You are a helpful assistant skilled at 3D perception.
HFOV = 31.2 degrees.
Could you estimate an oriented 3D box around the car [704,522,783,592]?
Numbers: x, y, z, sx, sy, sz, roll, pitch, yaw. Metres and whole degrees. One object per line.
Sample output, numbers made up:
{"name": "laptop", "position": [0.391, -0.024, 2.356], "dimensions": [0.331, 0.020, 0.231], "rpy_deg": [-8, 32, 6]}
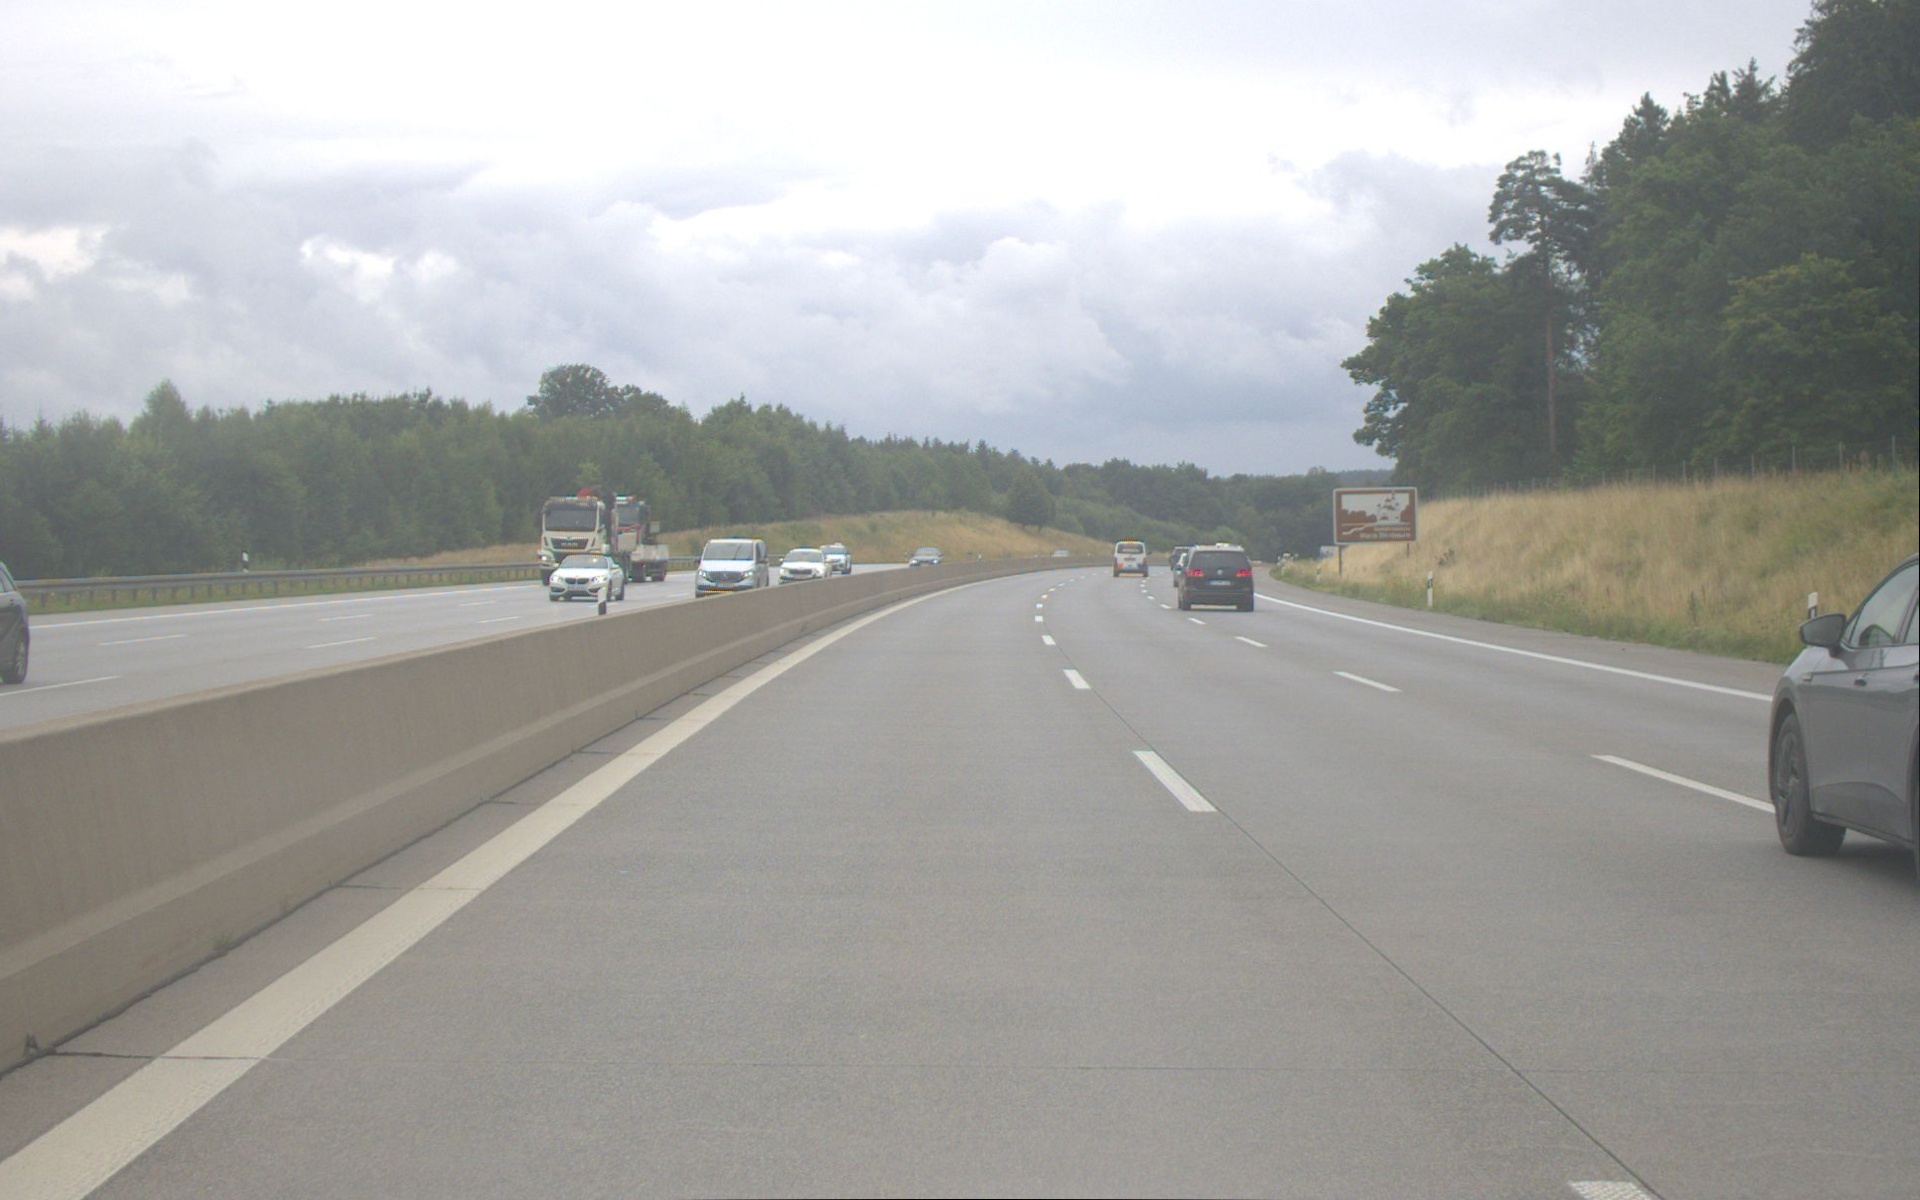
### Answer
{"name": "car", "position": [-6.647, -1.355, 106.118], "dimensions": [1.993, 2.006, 5.525], "rpy_deg": [2, 2, 0]}

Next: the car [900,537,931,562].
{"name": "car", "position": [-2.635, -3.007, 204.501], "dimensions": [1.762, 1.262, 4.493], "rpy_deg": [-1, -1, 0]}

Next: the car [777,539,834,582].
{"name": "car", "position": [-5.787, -1.495, 129.031], "dimensions": [1.714, 1.415, 4.213], "rpy_deg": [3, 2, 2]}

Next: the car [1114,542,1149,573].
{"name": "car", "position": [9.445, -2.341, 188.704], "dimensions": [1.841, 1.495, 4.000], "rpy_deg": [-2, 2, 3]}

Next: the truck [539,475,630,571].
{"name": "truck", "position": [-14.534, -2.987, 133.536], "dimensions": [2.586, 3.640, 7.661], "rpy_deg": [0, 1, 1]}

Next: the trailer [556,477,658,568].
{"name": "trailer", "position": [-14.431, -3.126, 141.592], "dimensions": [2.586, 3.530, 13.723], "rpy_deg": [0, 1, 1]}

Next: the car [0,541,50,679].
{"name": "car", "position": [-12.151, 0.116, 39.831], "dimensions": [1.993, 1.584, 4.772], "rpy_deg": [1, 1, -1]}

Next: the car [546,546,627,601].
{"name": "car", "position": [-10.971, -0.800, 101.196], "dimensions": [1.737, 1.363, 4.097], "rpy_deg": [3, 2, 2]}

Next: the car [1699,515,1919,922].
{"name": "car", "position": [5.021, 0.480, 16.162], "dimensions": [1.898, 1.684, 5.267], "rpy_deg": [1, 2, 0]}

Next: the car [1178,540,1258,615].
{"name": "car", "position": [6.717, -0.608, 89.799], "dimensions": [1.785, 1.741, 3.915], "rpy_deg": [-3, 2, 1]}
